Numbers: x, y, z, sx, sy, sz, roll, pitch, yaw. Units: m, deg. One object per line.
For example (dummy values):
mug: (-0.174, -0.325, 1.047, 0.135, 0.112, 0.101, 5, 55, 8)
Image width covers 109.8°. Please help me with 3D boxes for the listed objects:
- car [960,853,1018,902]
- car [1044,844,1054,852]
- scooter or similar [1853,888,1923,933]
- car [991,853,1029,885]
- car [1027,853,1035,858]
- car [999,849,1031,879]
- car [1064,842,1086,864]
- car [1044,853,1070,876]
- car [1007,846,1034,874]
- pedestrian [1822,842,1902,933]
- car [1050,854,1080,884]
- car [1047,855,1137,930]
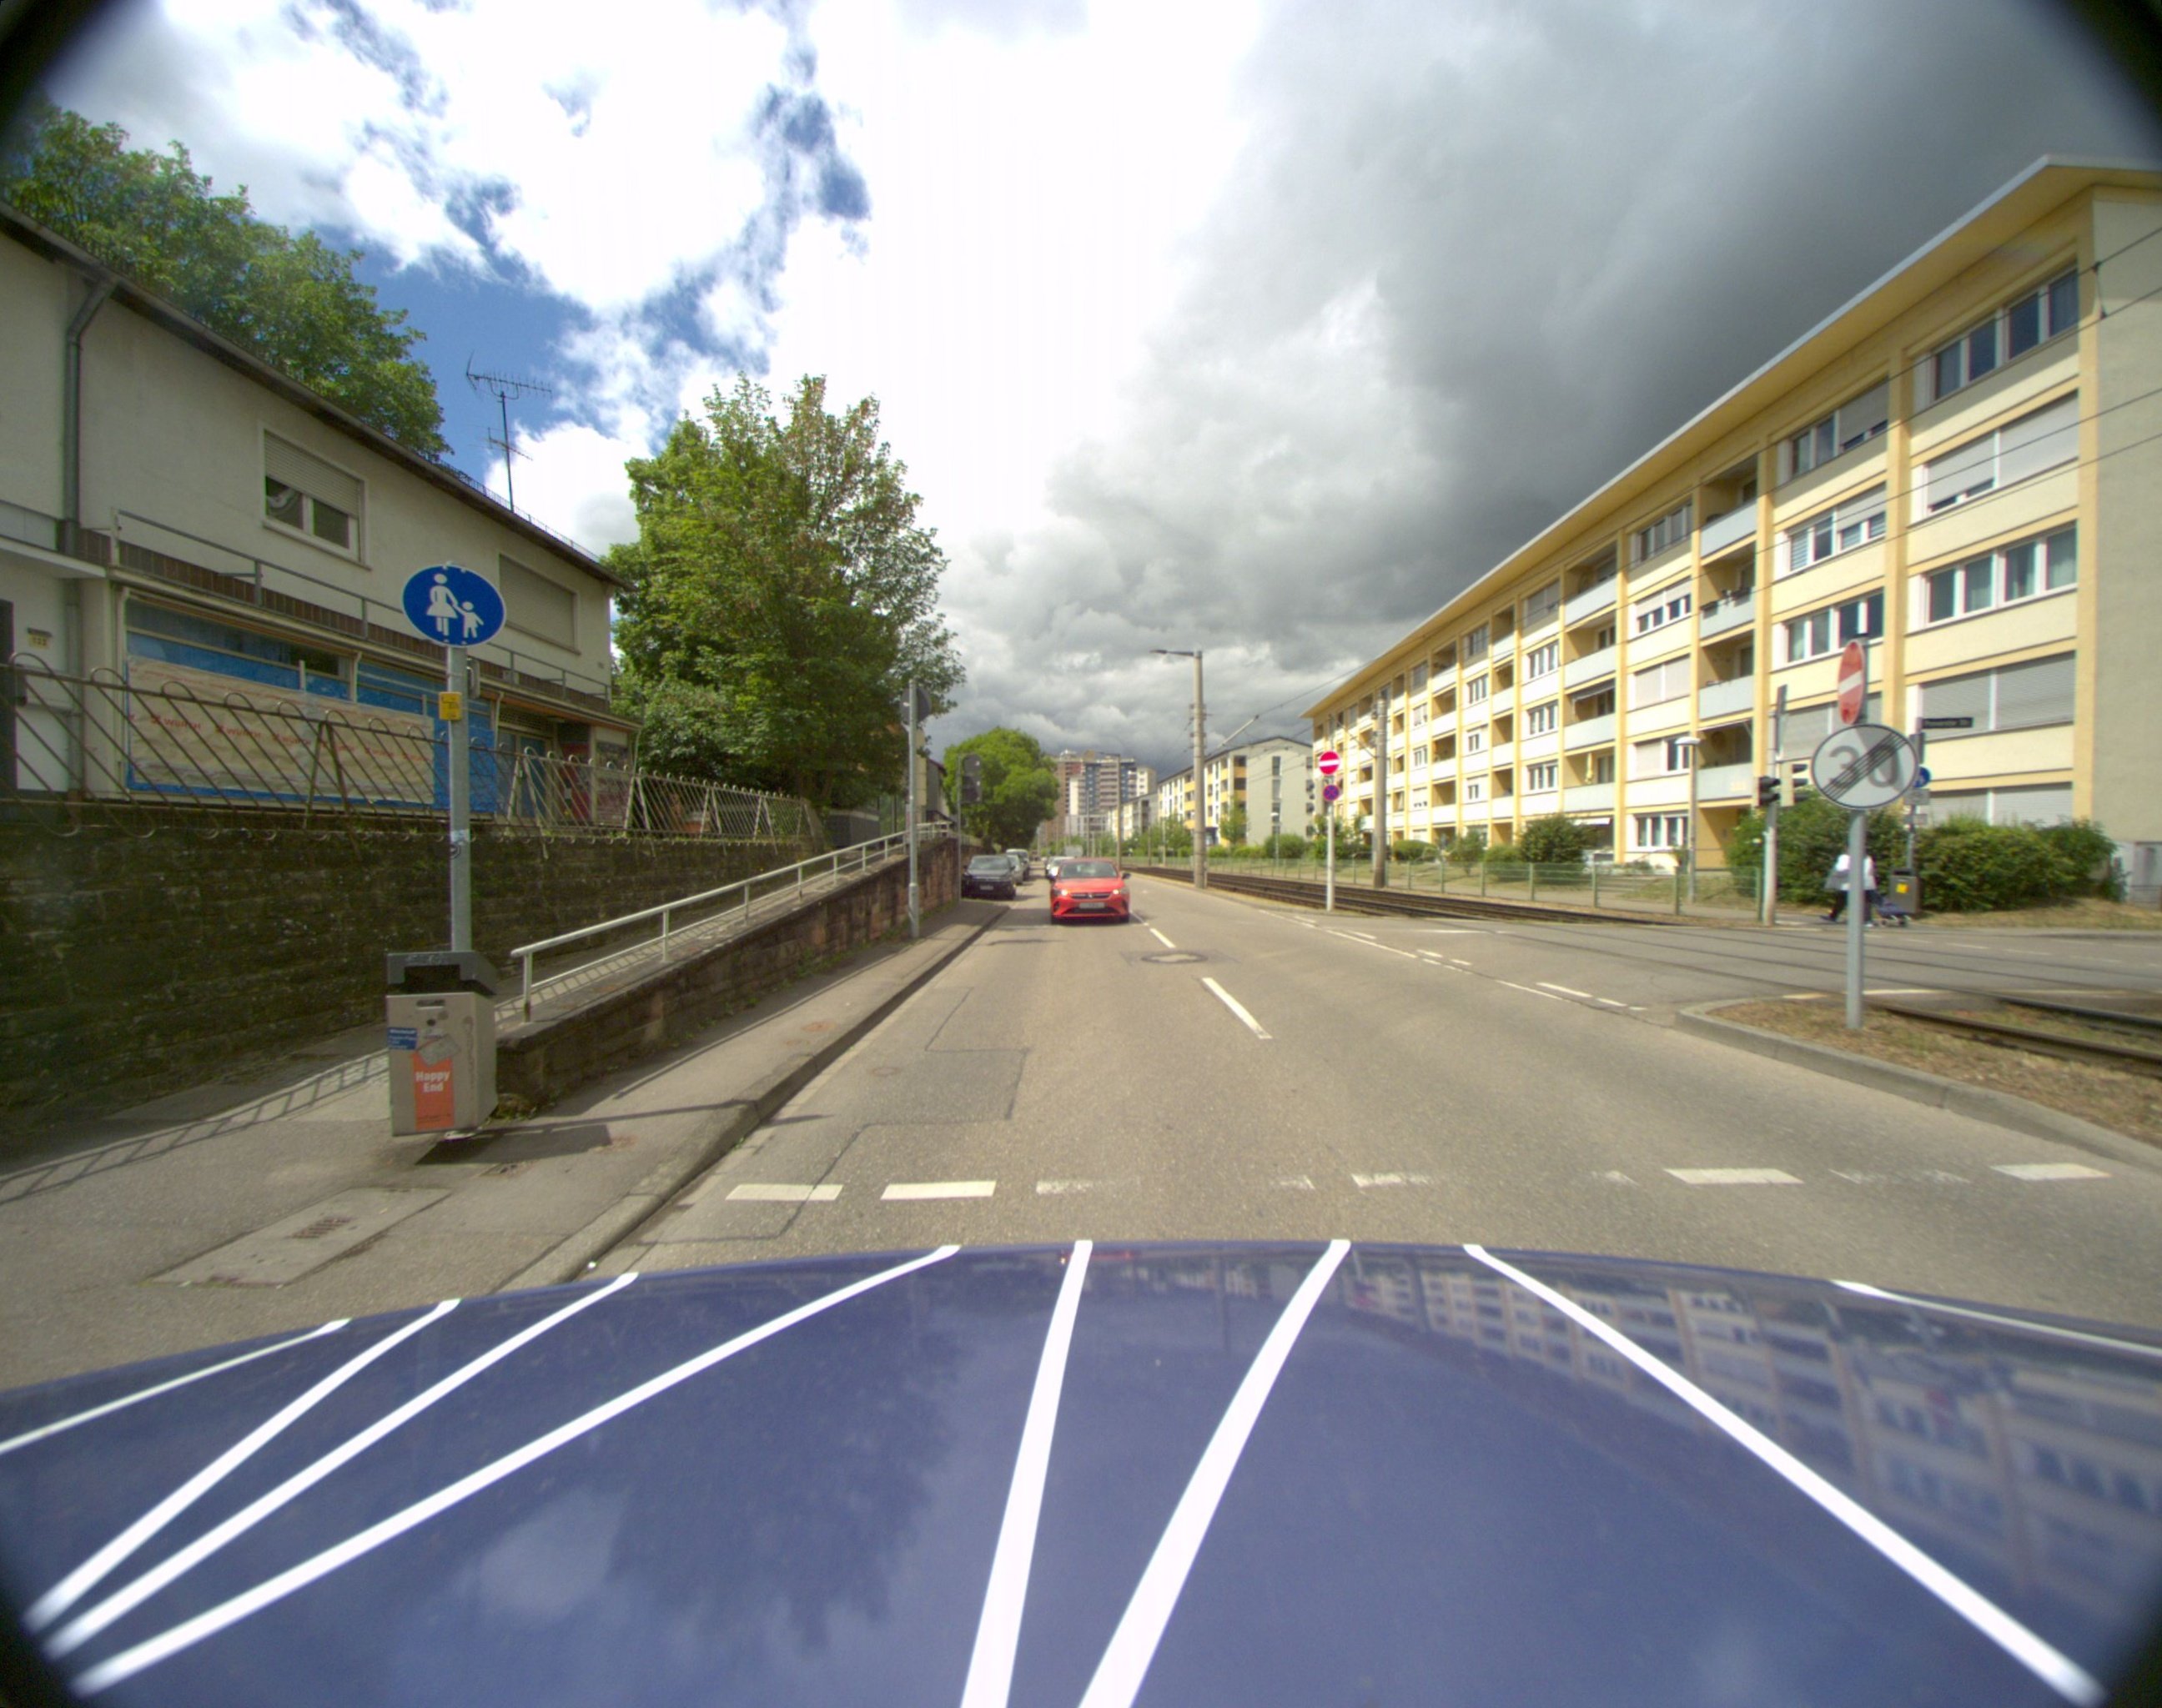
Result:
car: (-3.190, 0.760, 26.904, 1.760, 1.570, 4.020, 0, 1, -3)
car: (-7.730, -1.411, 183.658, 2.237, 2.051, 4.360, 0, 1, -3)
scooter or similar: (14.542, 1.008, 13.700, 0.534, 0.769, 0.666, 0, 1, -1)
car: (-3.633, 0.727, 39.228, 1.760, 1.559, 4.173, 1, 0, -3)
car: (-15.181, 0.429, 232.574, 2.441, 1.717, 5.481, 0, 1, -3)
car: (-3.906, 0.573, 45.320, 1.760, 1.706, 3.998, 0, 1, -3)
car: (-0.748, -0.128, 84.164, 2.237, 2.460, 5.085, 0, 1, -3)
car: (-1.615, 0.683, 51.413, 1.639, 1.346, 3.999, -2, 1, -2)
car: (-4.560, 0.412, 57.873, 1.854, 1.997, 4.968, 0, 1, -3)
pedestrian: (14.123, 0.593, 13.765, 0.605, 1.598, 0.773, 1, 1, -1)
car: (-0.882, 0.758, 40.589, 1.499, 1.477, 3.519, 0, 1, -3)
car: (0.135, 0.790, 17.711, 1.783, 1.434, 4.129, -2, 1, -3)
